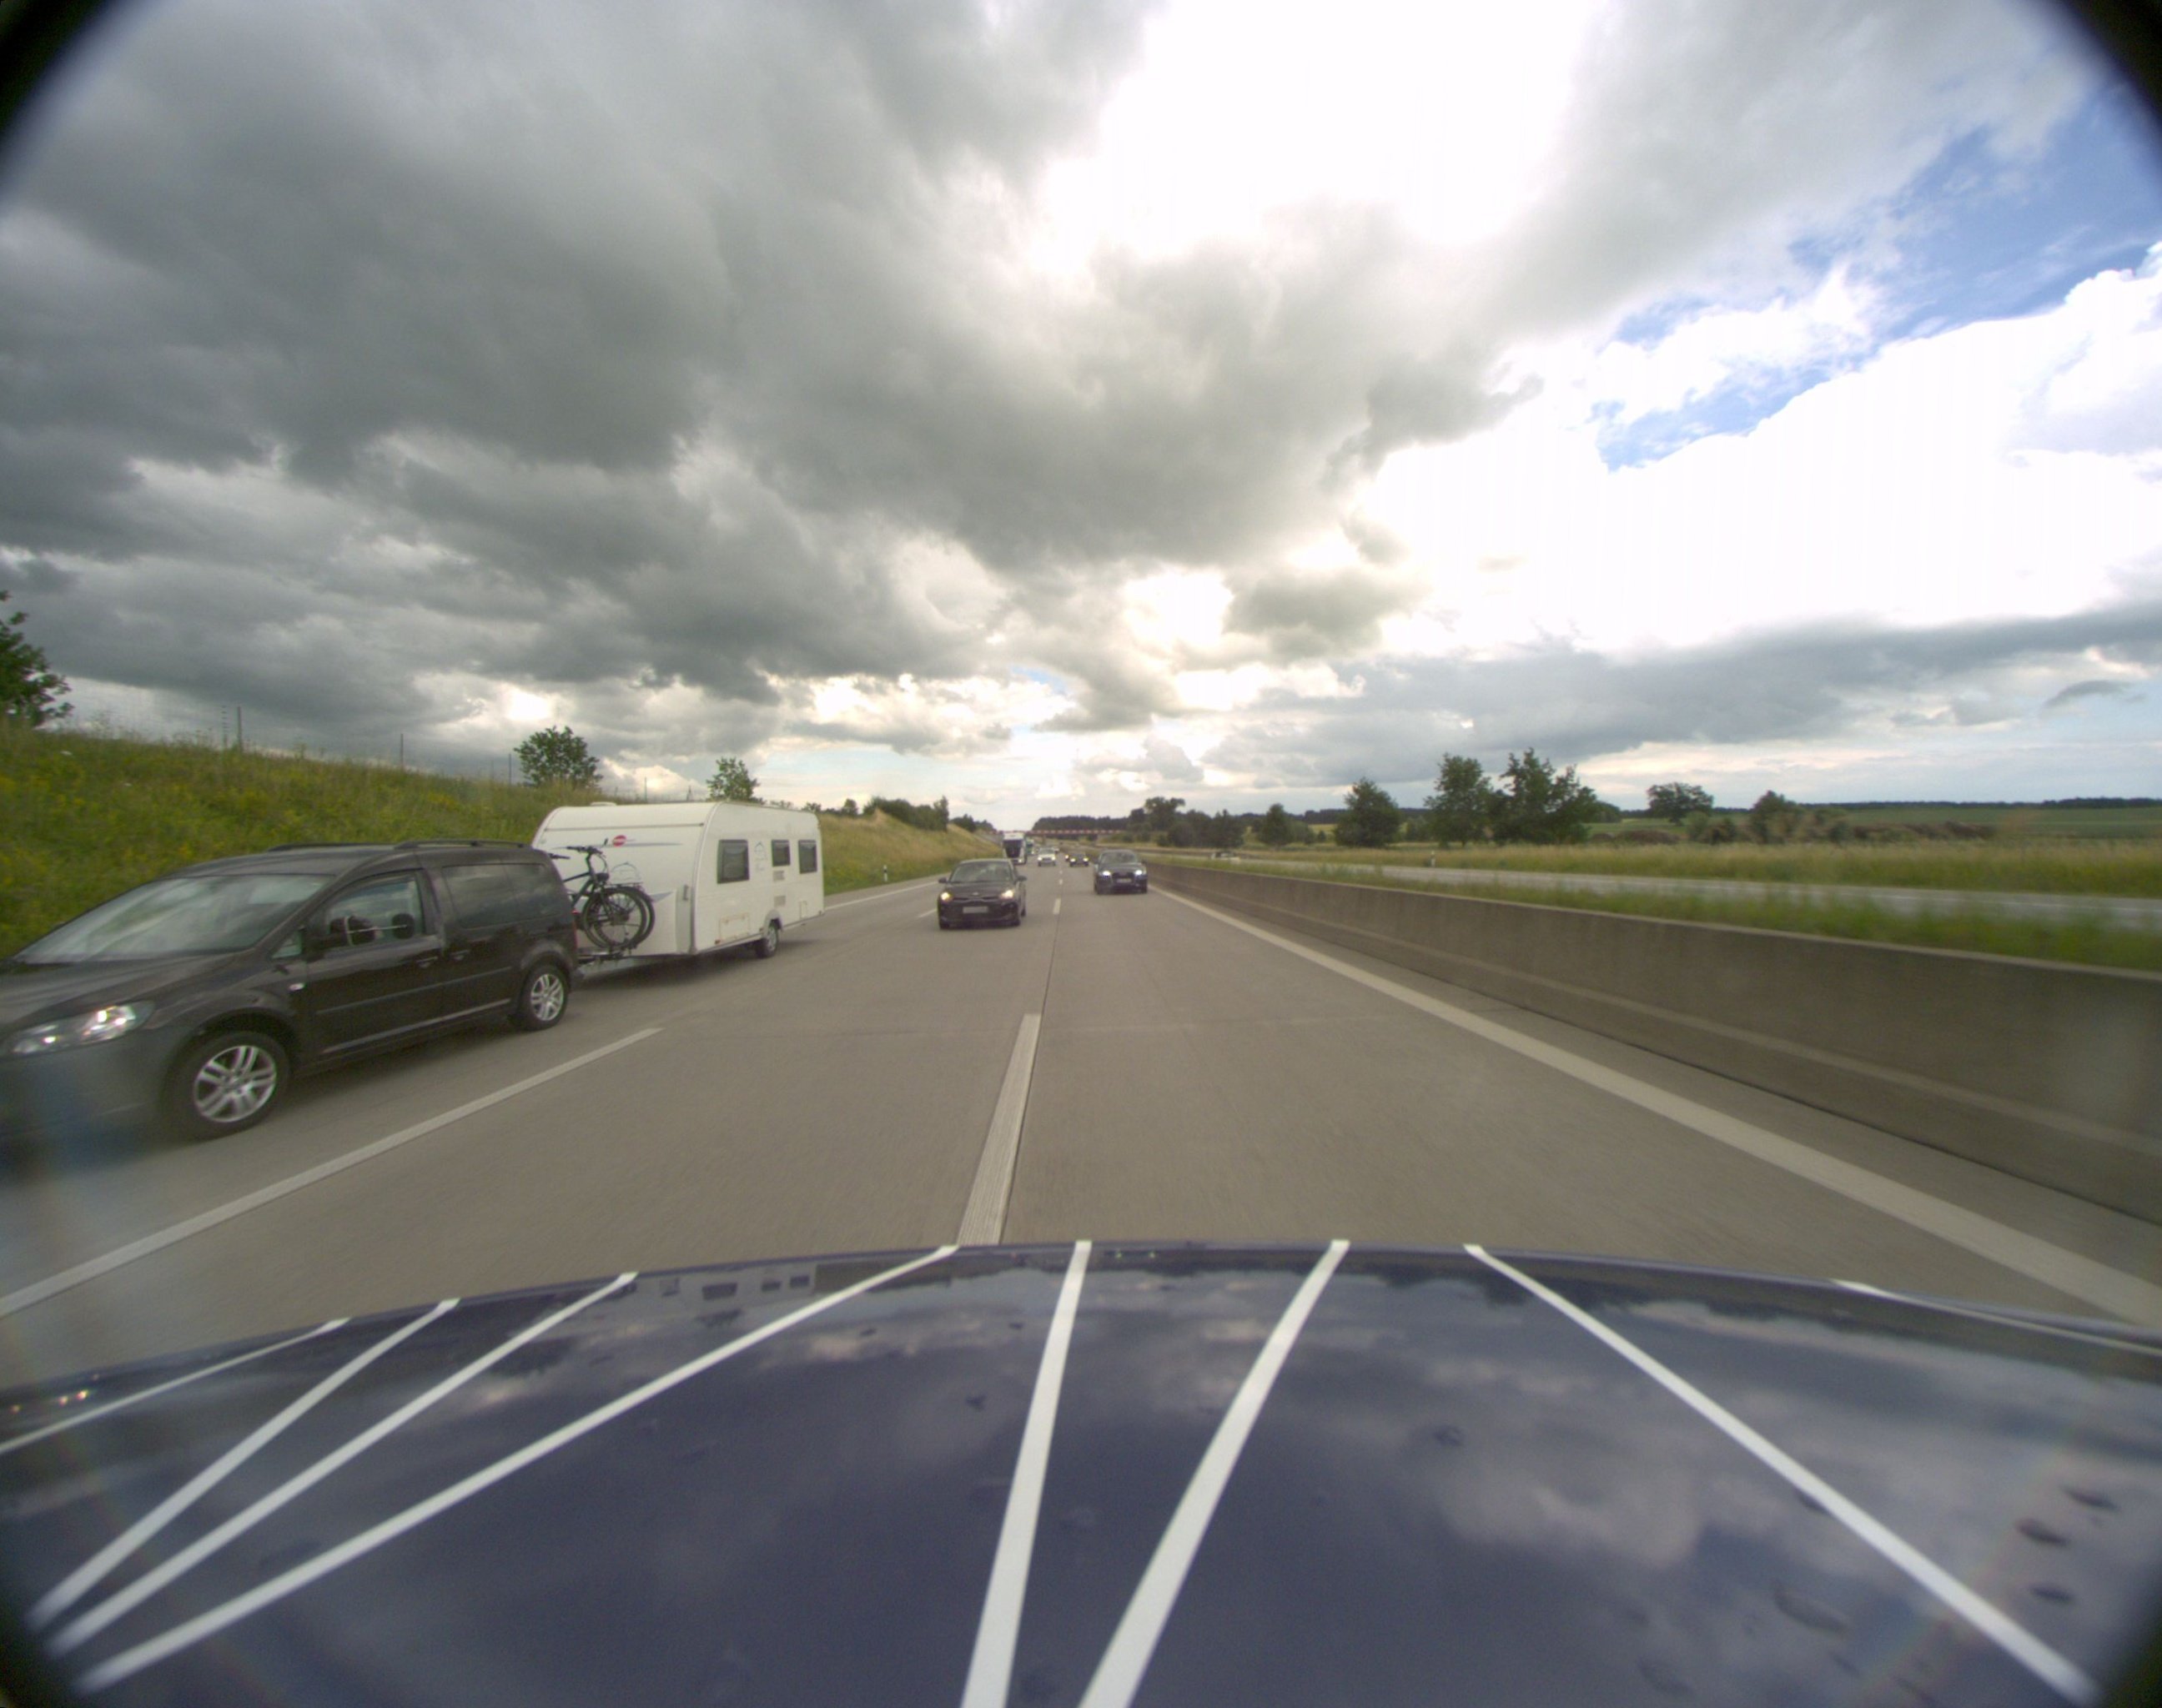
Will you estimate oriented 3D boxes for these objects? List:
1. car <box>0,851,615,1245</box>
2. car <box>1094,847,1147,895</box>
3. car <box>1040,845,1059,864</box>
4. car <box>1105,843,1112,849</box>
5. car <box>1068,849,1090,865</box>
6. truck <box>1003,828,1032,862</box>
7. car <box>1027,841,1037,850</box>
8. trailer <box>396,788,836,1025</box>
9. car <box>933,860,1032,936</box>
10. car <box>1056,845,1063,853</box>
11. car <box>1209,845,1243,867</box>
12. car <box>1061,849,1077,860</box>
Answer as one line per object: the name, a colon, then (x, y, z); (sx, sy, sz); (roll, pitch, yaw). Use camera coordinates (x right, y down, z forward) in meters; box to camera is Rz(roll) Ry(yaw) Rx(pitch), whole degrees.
car: (-6.049, 0.929, 5.683); (1.944, 1.799, 5.031); (-2, 1, 0)
car: (1.488, 0.575, 28.872); (1.797, 1.587, 5.157); (-2, 0, 3)
car: (-3.518, 0.019, 83.600); (1.999, 2.002, 3.999); (-2, 0, -3)
car: (7.082, -2.001, 195.789); (1.646, 1.365, 4.097); (-2, 1, -1)
car: (-0.162, 0.292, 76.219); (1.939, 1.464, 4.001); (-2, 0, 4)
truck: (-8.150, -1.142, 98.338); (2.855, 4.176, 10.708); (-2, 0, -1)
car: (-12.341, -2.116, 190.792); (2.358, 2.002, 4.810); (-2, 1, -3)
trailer: (-6.156, 0.532, 11.684); (2.615, 2.520, 6.719); (-2, 1, -1)
car: (-2.147, 0.916, 17.534); (1.691, 1.405, 3.999); (-2, 1, 0)
car: (-5.908, -1.438, 210.297); (1.999, 2.002, 3.998); (-1, 1, -2)
car: (9.419, 0.125, 49.565); (1.571, 1.344, 3.472); (-2, 1, 0)
car: (-1.658, 0.033, 105.620); (1.821, 1.364, 3.783); (-3, 1, 4)
